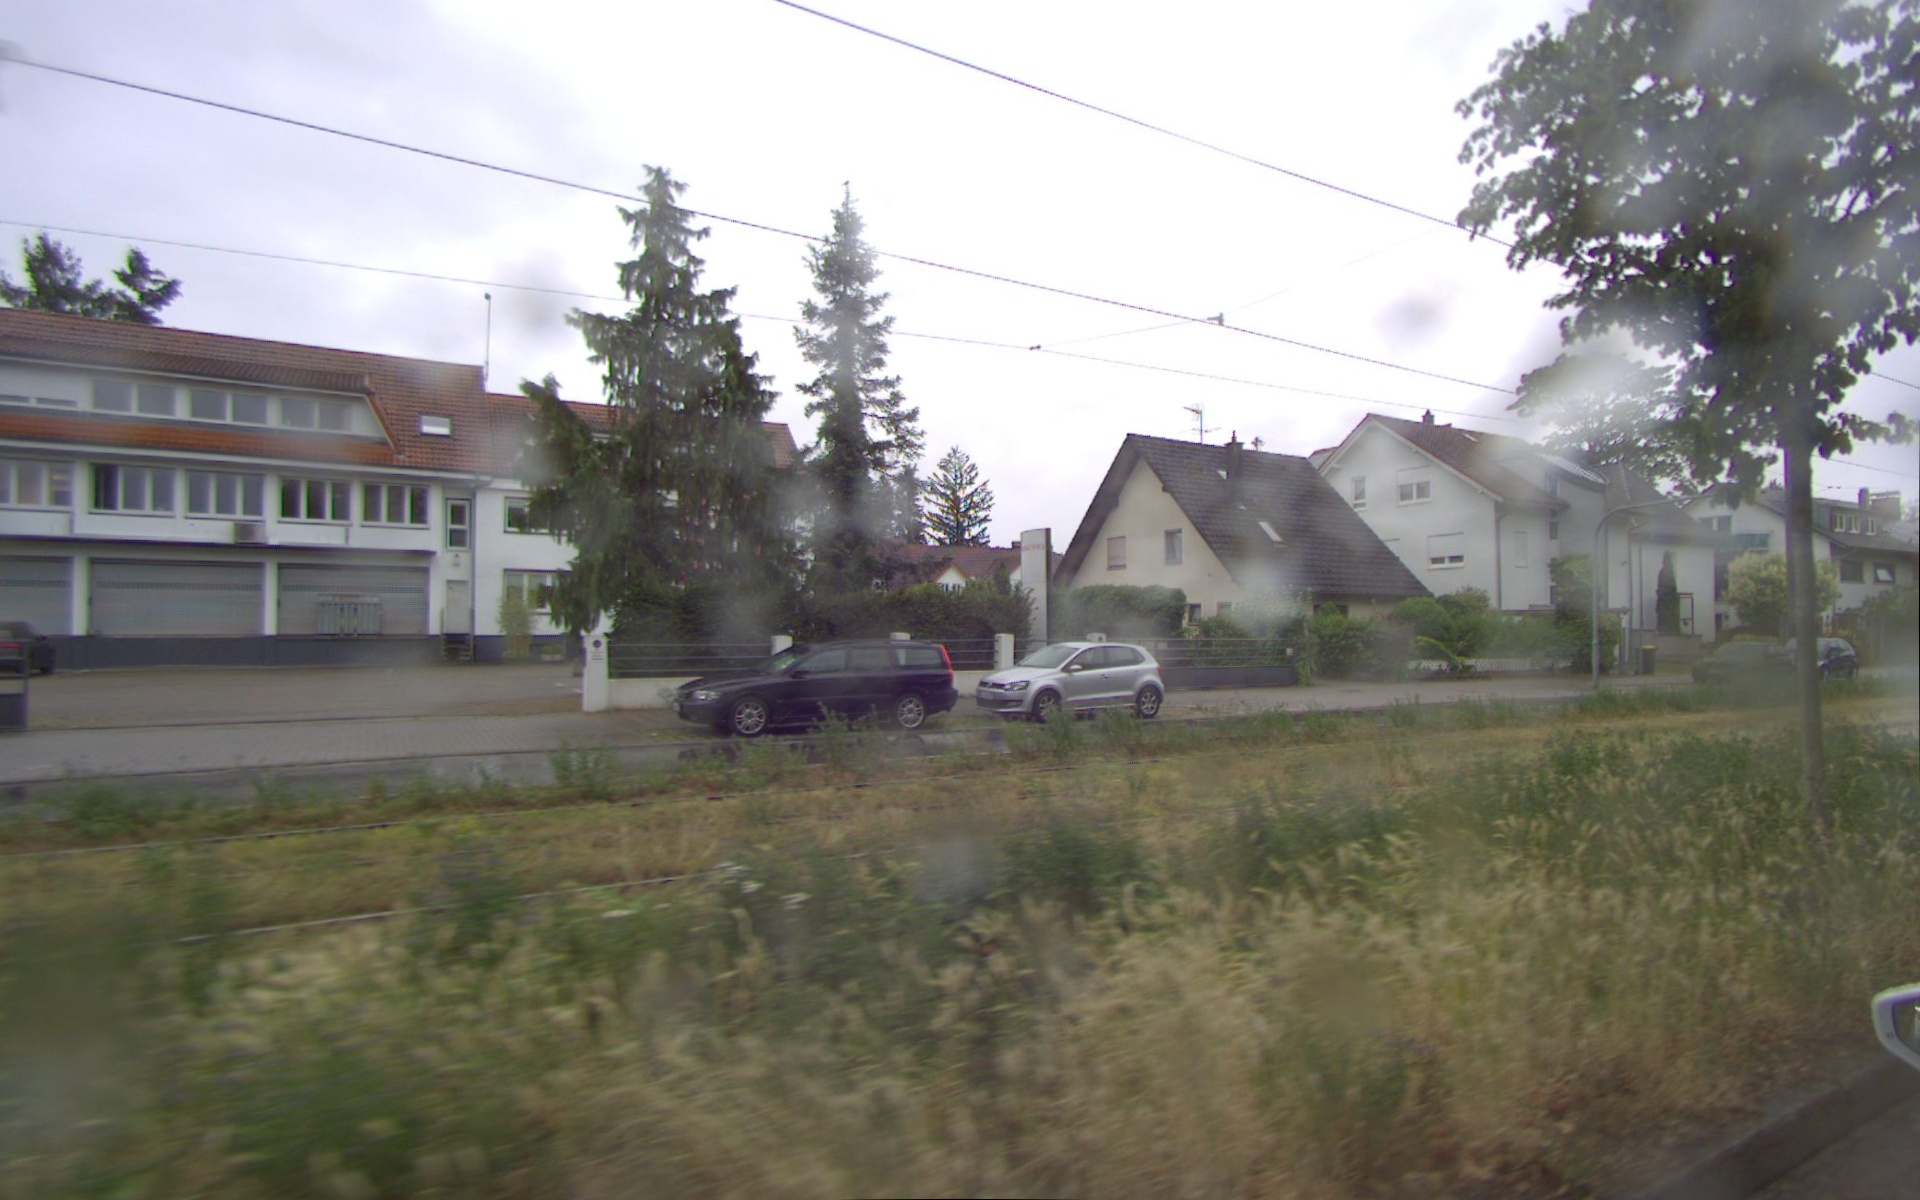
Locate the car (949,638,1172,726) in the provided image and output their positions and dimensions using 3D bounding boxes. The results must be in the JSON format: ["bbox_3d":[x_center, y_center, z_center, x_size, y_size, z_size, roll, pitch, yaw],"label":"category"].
[{"bbox_3d":[1.965,1.503,19.470,3.925,1.430,1.983,1,0,-31],"label":"car"}]

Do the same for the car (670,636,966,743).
[{"bbox_3d":[-2.329,1.388,16.704,4.476,1.475,1.985,1,0,-29],"label":"car"}]

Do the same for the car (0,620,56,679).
[{"bbox_3d":[-28.071,1.420,29.477,1.686,1.560,3.934,1,0,-34],"label":"car"}]

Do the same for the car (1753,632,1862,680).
[{"bbox_3d":[30.747,1.993,36.427,3.825,1.571,1.864,1,0,-31],"label":"car"}]

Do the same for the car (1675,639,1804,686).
[{"bbox_3d":[26.386,2.072,34.006,4.188,1.368,1.985,1,0,-29],"label":"car"}]

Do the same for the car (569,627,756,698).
[{"bbox_3d":[-6.998,1.414,23.682,3.873,1.475,1.983,1,0,-31],"label":"car"}]
